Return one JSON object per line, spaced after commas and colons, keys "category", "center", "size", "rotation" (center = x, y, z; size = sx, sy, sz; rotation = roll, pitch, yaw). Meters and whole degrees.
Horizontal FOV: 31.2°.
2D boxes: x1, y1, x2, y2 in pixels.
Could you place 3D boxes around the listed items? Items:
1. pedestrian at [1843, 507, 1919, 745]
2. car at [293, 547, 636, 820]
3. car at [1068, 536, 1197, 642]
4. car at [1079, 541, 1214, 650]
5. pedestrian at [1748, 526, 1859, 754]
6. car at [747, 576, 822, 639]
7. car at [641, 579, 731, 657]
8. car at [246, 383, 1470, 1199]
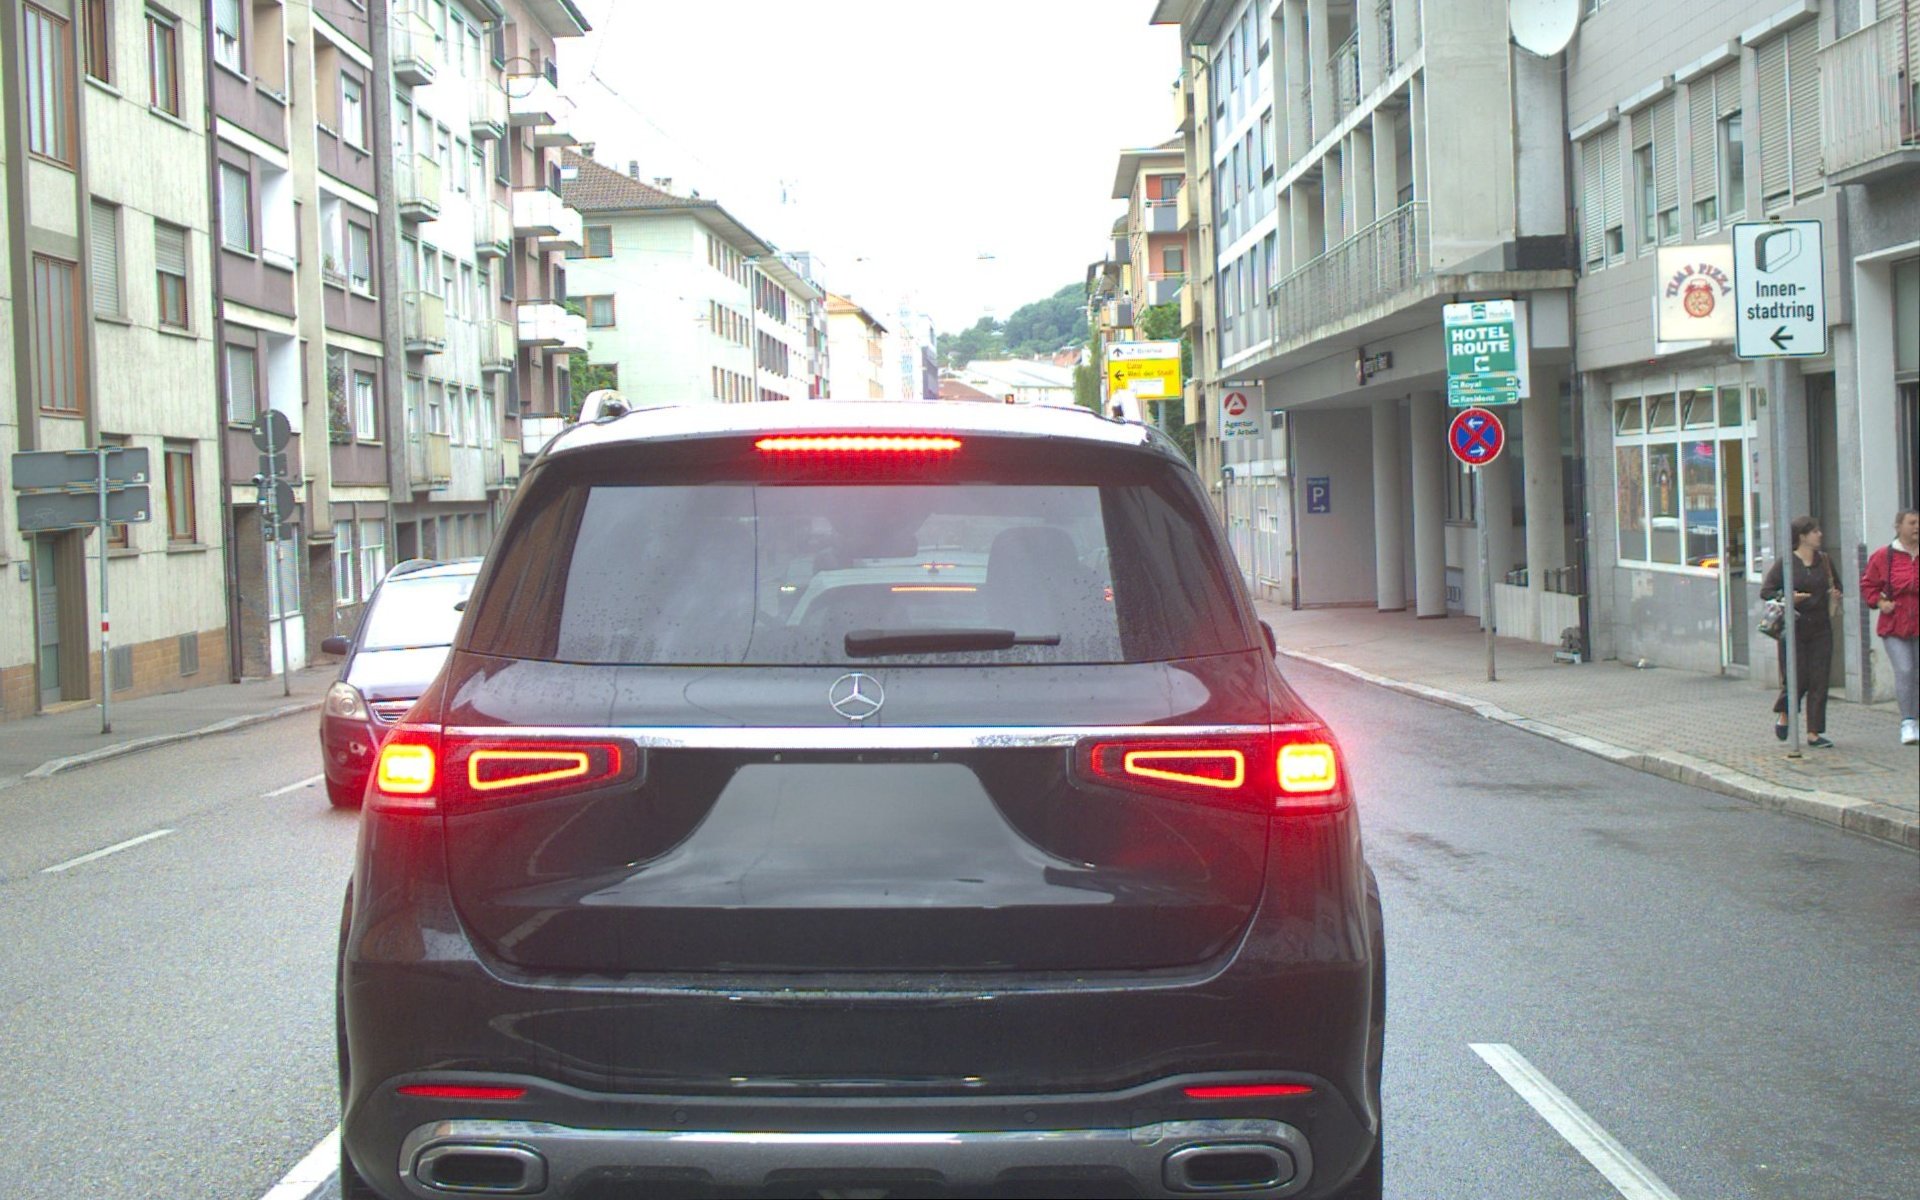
{"category": "pedestrian", "center": [6.433, 0.167, 23.468], "size": [0.560, 1.573, 0.526], "rotation": [-4, 1, -1]}
{"category": "car", "center": [-3.307, 0.494, 23.633], "size": [1.732, 1.570, 4.012], "rotation": [-5, 1, -1]}
{"category": "car", "center": [2.974, -0.221, 60.152], "size": [1.940, 1.769, 4.746], "rotation": [0, 1, -1]}
{"category": "car", "center": [2.791, -0.095, 52.098], "size": [1.767, 1.575, 4.000], "rotation": [-1, 1, -1]}
{"category": "pedestrian", "center": [5.742, 0.265, 23.412], "size": [0.506, 1.495, 0.562], "rotation": [-4, 1, -1]}
{"category": "car", "center": [-4.426, 0.163, 87.058], "size": [1.648, 1.434, 4.125], "rotation": [-3, 1, -1]}
{"category": "car", "center": [-6.091, 0.388, 76.833], "size": [1.648, 1.570, 4.125], "rotation": [-3, 1, -1]}
{"category": "car", "center": [-0.213, 0.521, 7.748], "size": [2.025, 1.799, 4.000], "rotation": [1, 1, -1]}
